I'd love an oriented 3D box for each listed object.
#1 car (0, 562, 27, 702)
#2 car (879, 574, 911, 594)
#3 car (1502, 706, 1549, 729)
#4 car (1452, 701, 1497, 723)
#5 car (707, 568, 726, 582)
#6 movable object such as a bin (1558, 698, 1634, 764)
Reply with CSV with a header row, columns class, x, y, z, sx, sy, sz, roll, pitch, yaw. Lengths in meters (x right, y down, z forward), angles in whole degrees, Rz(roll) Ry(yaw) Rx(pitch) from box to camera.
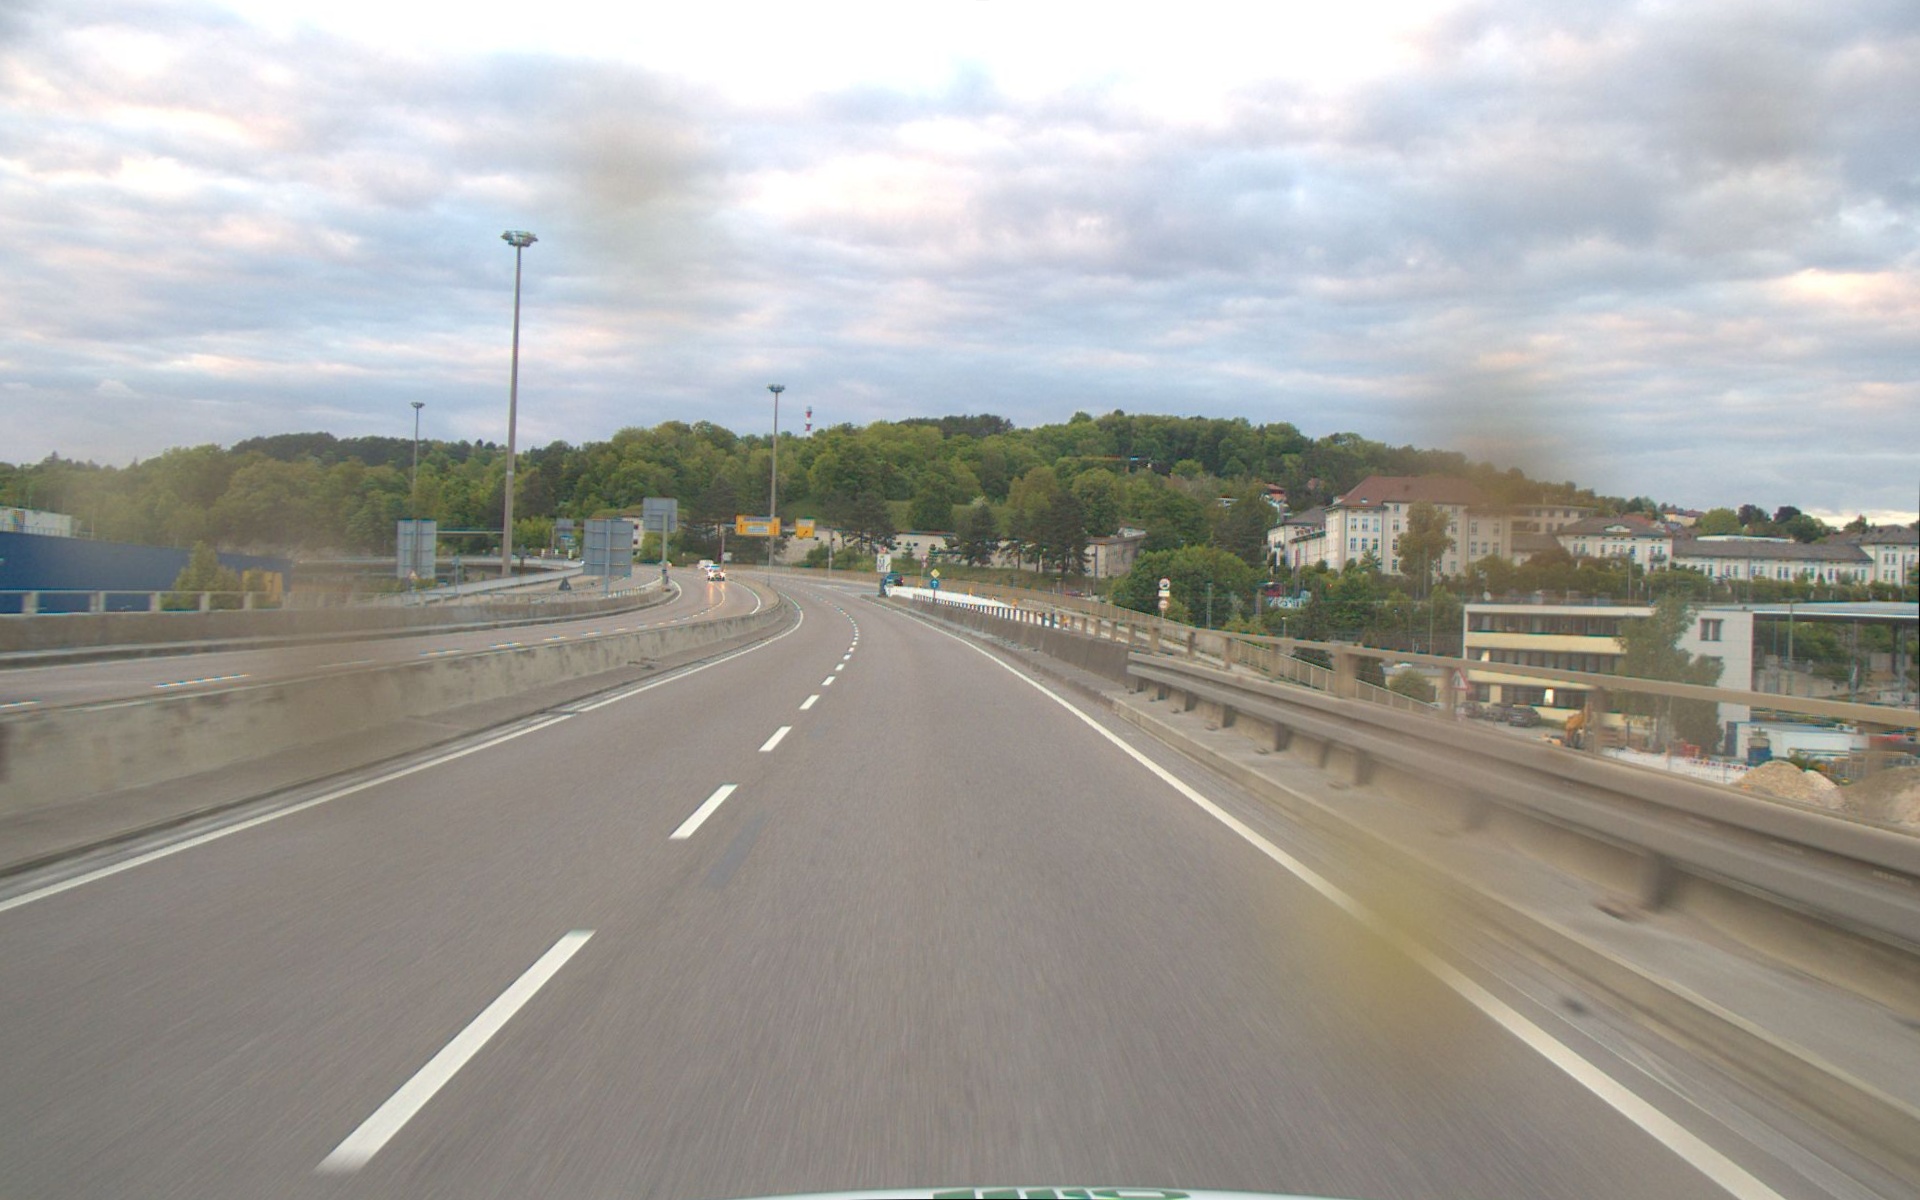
class,x,y,z,sx,sy,sz,roll,pitch,yaw
car,-12.056,0.356,17.573,1.937,1.634,4.438,1,0,-3
car,-6.585,-1.630,167.918,2.267,1.794,4.245,3,1,-16
car,48.859,10.172,142.969,3.957,1.592,1.809,6,2,-37
car,46.500,10.153,149.499,3.957,1.592,1.809,6,2,-37
car,-28.613,-2.924,194.173,1.798,1.506,4.272,1,0,-14
movable object such as a bin,49.481,10.161,128.806,2.731,4.382,4.939,8,-1,-15
